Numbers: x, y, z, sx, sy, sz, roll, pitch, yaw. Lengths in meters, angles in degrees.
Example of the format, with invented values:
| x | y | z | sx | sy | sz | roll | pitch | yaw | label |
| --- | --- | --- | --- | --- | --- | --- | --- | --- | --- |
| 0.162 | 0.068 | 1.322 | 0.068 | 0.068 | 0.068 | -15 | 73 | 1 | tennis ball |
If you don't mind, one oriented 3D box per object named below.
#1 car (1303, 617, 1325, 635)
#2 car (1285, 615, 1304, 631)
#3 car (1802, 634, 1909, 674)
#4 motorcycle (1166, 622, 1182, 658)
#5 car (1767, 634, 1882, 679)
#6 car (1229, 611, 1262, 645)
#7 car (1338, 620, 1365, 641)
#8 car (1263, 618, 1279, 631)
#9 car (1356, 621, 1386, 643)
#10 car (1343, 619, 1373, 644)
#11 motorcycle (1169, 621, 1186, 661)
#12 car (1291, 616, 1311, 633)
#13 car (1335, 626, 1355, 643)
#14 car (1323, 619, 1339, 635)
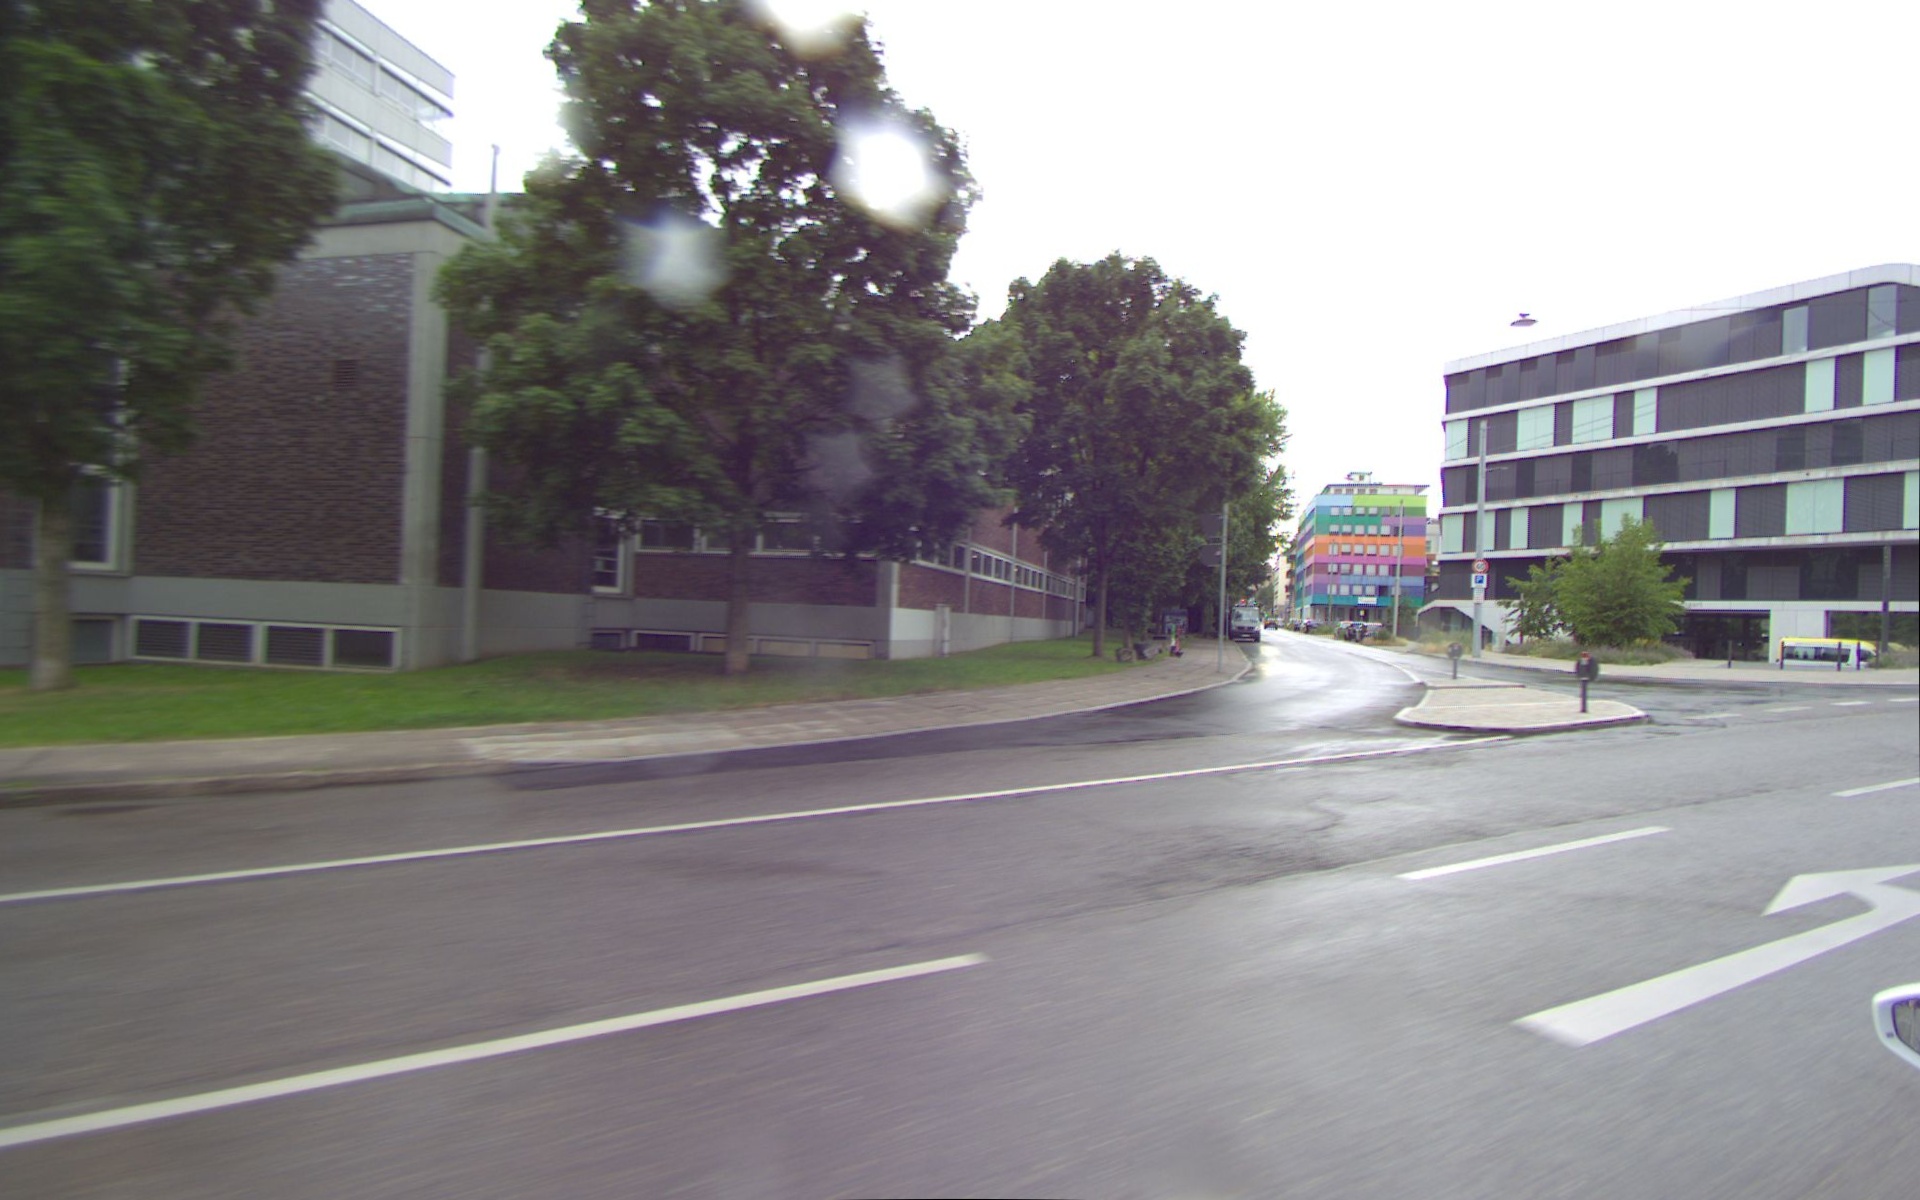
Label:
| x | y | z | sx | sy | sz | roll | pitch | yaw | label |
| --- | --- | --- | --- | --- | --- | --- | --- | --- | --- |
| 38.760 | 2.823 | 110.094 | 1.960 | 1.864 | 4.002 | 1 | 0 | 15 | car |
| 42.251 | 2.927 | 126.921 | 1.960 | 1.864 | 4.002 | 1 | 0 | 15 | car |
| 51.867 | 3.098 | 58.278 | 1.579 | 2.059 | 4.322 | 2 | 0 | -29 | car |
| 7.072 | 1.310 | 33.276 | 0.404 | 1.140 | 1.171 | 2 | -1 | 8 | motorcycle |
| 48.393 | 3.103 | 56.303 | 1.912 | 2.203 | 4.559 | 2 | 0 | -35 | car |
| 18.994 | 1.837 | 66.768 | 2.035 | 2.070 | 4.281 | 2 | 0 | 17 | car |
| 31.697 | 2.440 | 81.392 | 1.770 | 1.609 | 3.679 | 2 | 0 | 19 | car |
| 43.610 | 3.476 | 140.768 | 1.960 | 1.682 | 4.001 | 2 | 0 | 16 | car |
| 29.091 | 2.242 | 71.188 | 1.635 | 1.469 | 3.869 | 2 | 0 | 19 | car |
| 30.509 | 2.401 | 77.077 | 1.883 | 1.763 | 4.000 | 2 | 0 | 19 | car |
| 6.833 | 1.268 | 31.561 | 0.404 | 1.201 | 1.228 | 2 | 0 | 8 | motorcycle |
| 40.674 | 2.879 | 119.758 | 1.960 | 1.864 | 4.002 | 1 | 0 | 15 | car |
| 32.735 | 2.932 | 85.496 | 1.452 | 1.258 | 3.401 | 2 | 0 | 19 | car |
| 37.057 | 2.664 | 100.335 | 1.413 | 1.514 | 3.639 | 1 | 0 | 19 | car |
